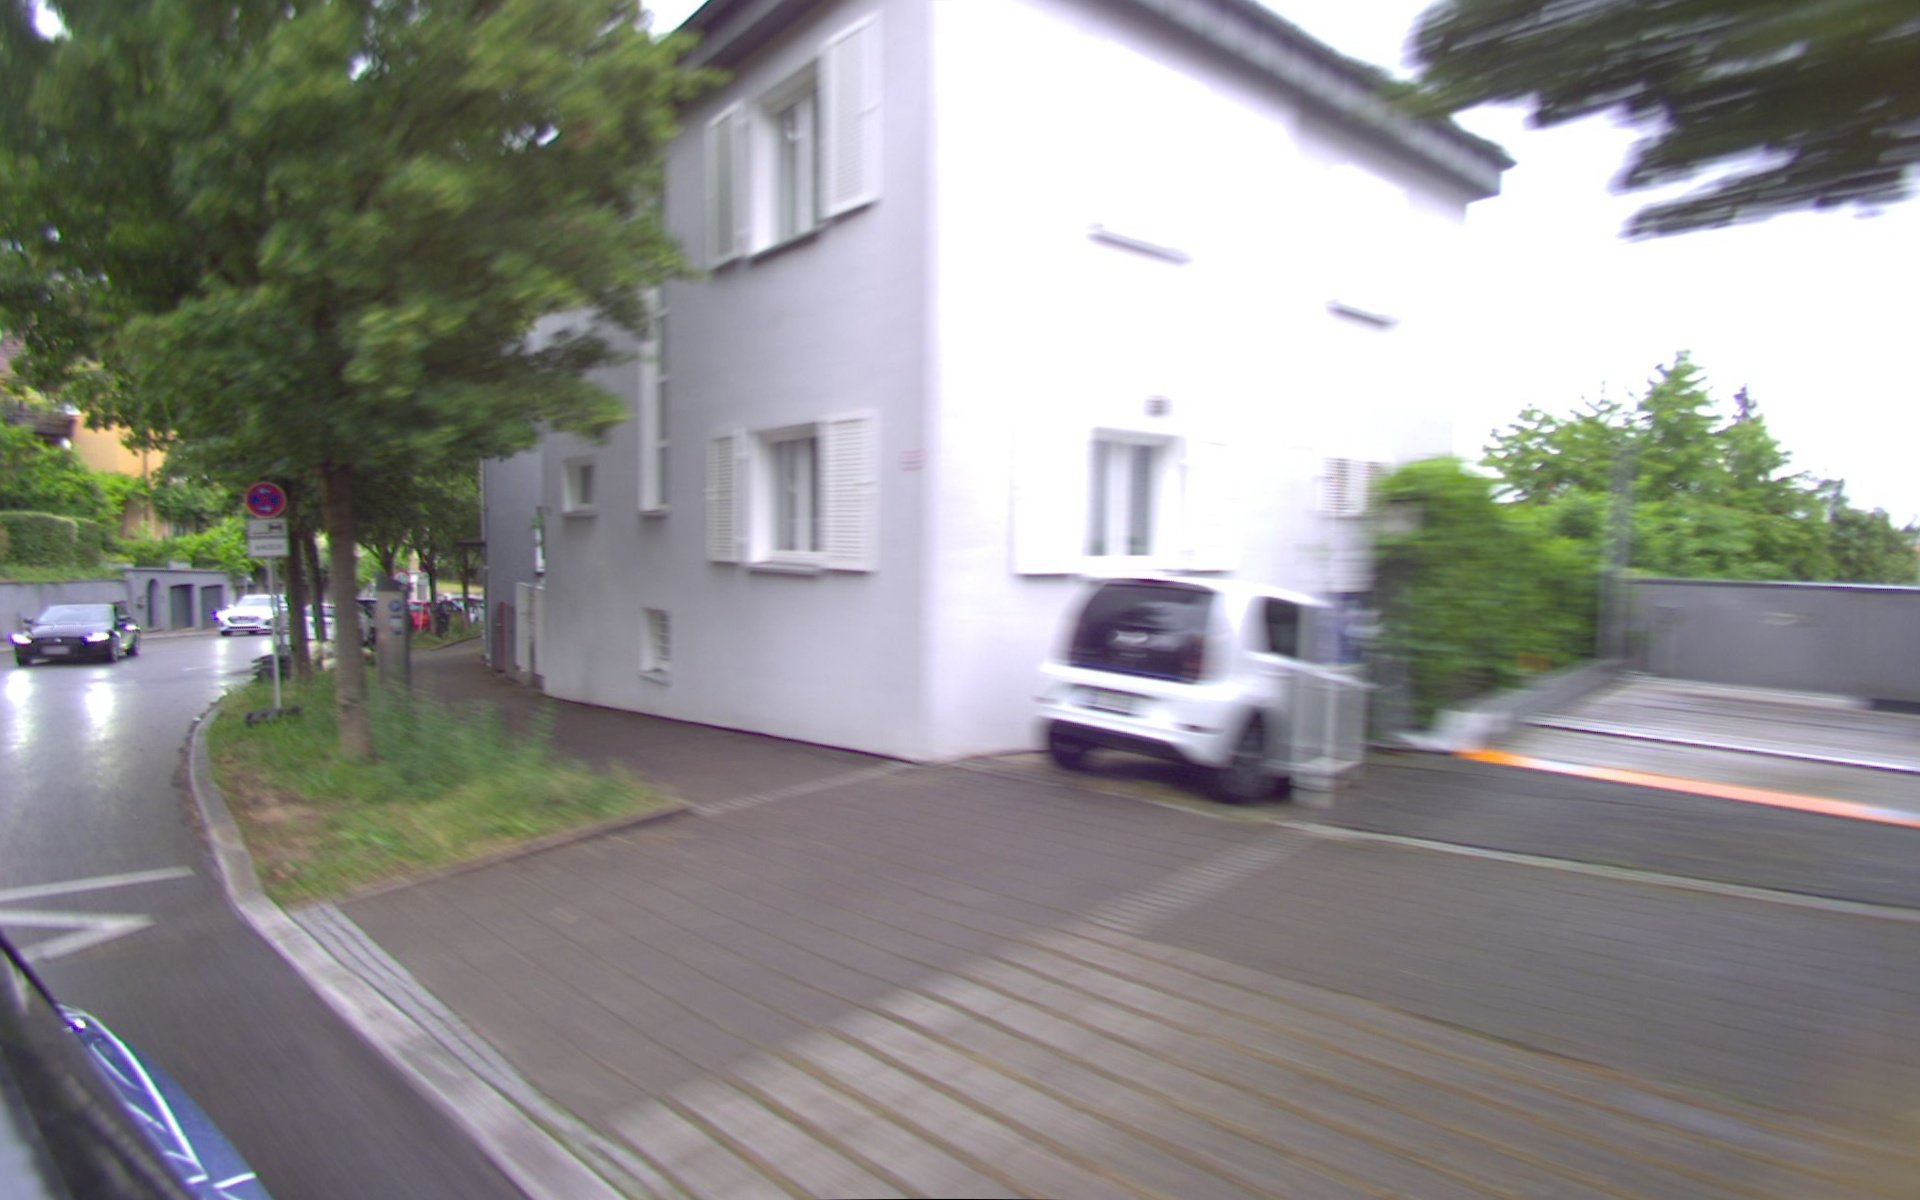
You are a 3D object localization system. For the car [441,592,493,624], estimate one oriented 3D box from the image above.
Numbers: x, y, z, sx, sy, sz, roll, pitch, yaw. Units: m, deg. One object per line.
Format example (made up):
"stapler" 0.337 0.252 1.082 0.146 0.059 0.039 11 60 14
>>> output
"car" -25.516 0.380 52.513 1.535 1.522 3.391 3 0 -11

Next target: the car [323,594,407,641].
"car" -22.290 0.619 38.087 1.658 1.621 4.590 1 0 -17

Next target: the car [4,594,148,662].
"car" -21.612 0.641 24.924 1.777 1.500 4.030 -1 0 -28

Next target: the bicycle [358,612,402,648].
"bicycle" -17.862 0.915 31.210 0.430 1.037 1.908 0 0 -6

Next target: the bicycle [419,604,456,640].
"bicycle" -19.183 0.796 37.214 0.610 1.261 1.909 0 0 -8

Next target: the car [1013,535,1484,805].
"car" 2.408 0.393 7.885 3.939 1.573 1.752 0 1 -43

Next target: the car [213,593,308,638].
"car" -28.580 0.604 41.515 1.979 1.674 4.459 2 0 -18

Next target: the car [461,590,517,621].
"car" -26.565 0.288 57.260 1.643 1.499 4.484 4 1 -9

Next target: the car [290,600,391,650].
"car" -20.460 0.784 33.592 1.659 1.520 4.328 2 0 -15
